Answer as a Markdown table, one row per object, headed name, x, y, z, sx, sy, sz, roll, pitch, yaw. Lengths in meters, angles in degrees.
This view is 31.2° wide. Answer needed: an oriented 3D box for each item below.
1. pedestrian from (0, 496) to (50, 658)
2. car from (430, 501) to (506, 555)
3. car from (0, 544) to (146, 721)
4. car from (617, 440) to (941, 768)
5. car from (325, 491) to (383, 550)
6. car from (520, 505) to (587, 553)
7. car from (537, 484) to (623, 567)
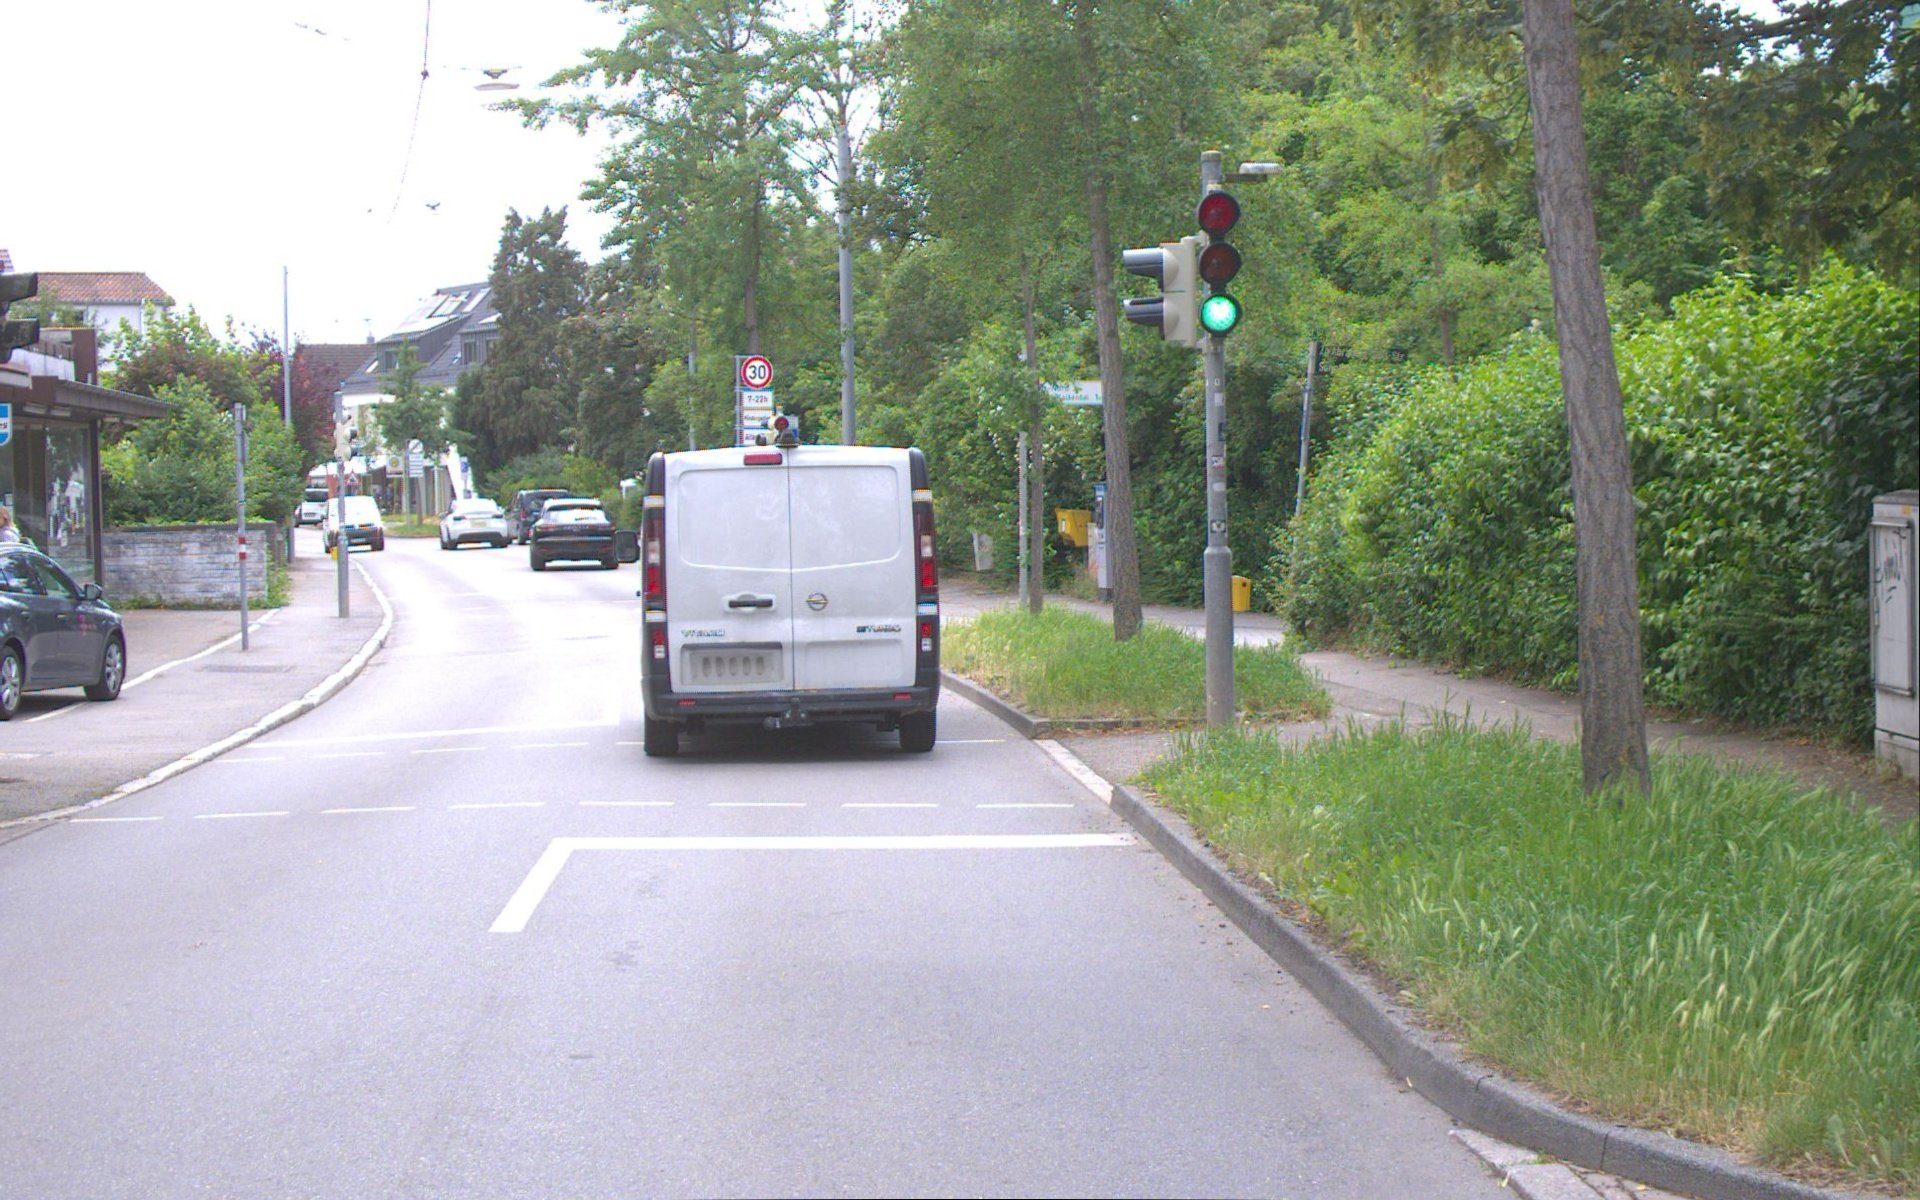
| name | x | y | z | sx | sy | sz | roll | pitch | yaw |
| --- | --- | --- | --- | --- | --- | --- | --- | --- | --- |
| pedestrian | -10.461 | -0.262 | 37.619 | 0.882 | 1.744 | 0.964 | 0 | 1 | -10 |
| car | -16.140 | -2.379 | 112.676 | 1.824 | 1.722 | 4.001 | -1 | 2 | -18 |
| car | -8.615 | 0.239 | 29.724 | 1.779 | 1.436 | 4.525 | 1 | 1 | 4 |
| car | -1.245 | -0.037 | 22.920 | 1.929 | 1.957 | 4.403 | -1 | 1 | -4 |
| car | -21.331 | -2.822 | 120.944 | 1.867 | 1.904 | 5.117 | -4 | 3 | -10 |
| car | -13.901 | -2.445 | 117.516 | 1.893 | 1.605 | 4.502 | -1 | 2 | -11 |
| car | -8.722 | -1.723 | 79.196 | 1.896 | 1.853 | 4.405 | -1 | 1 | -5 |
